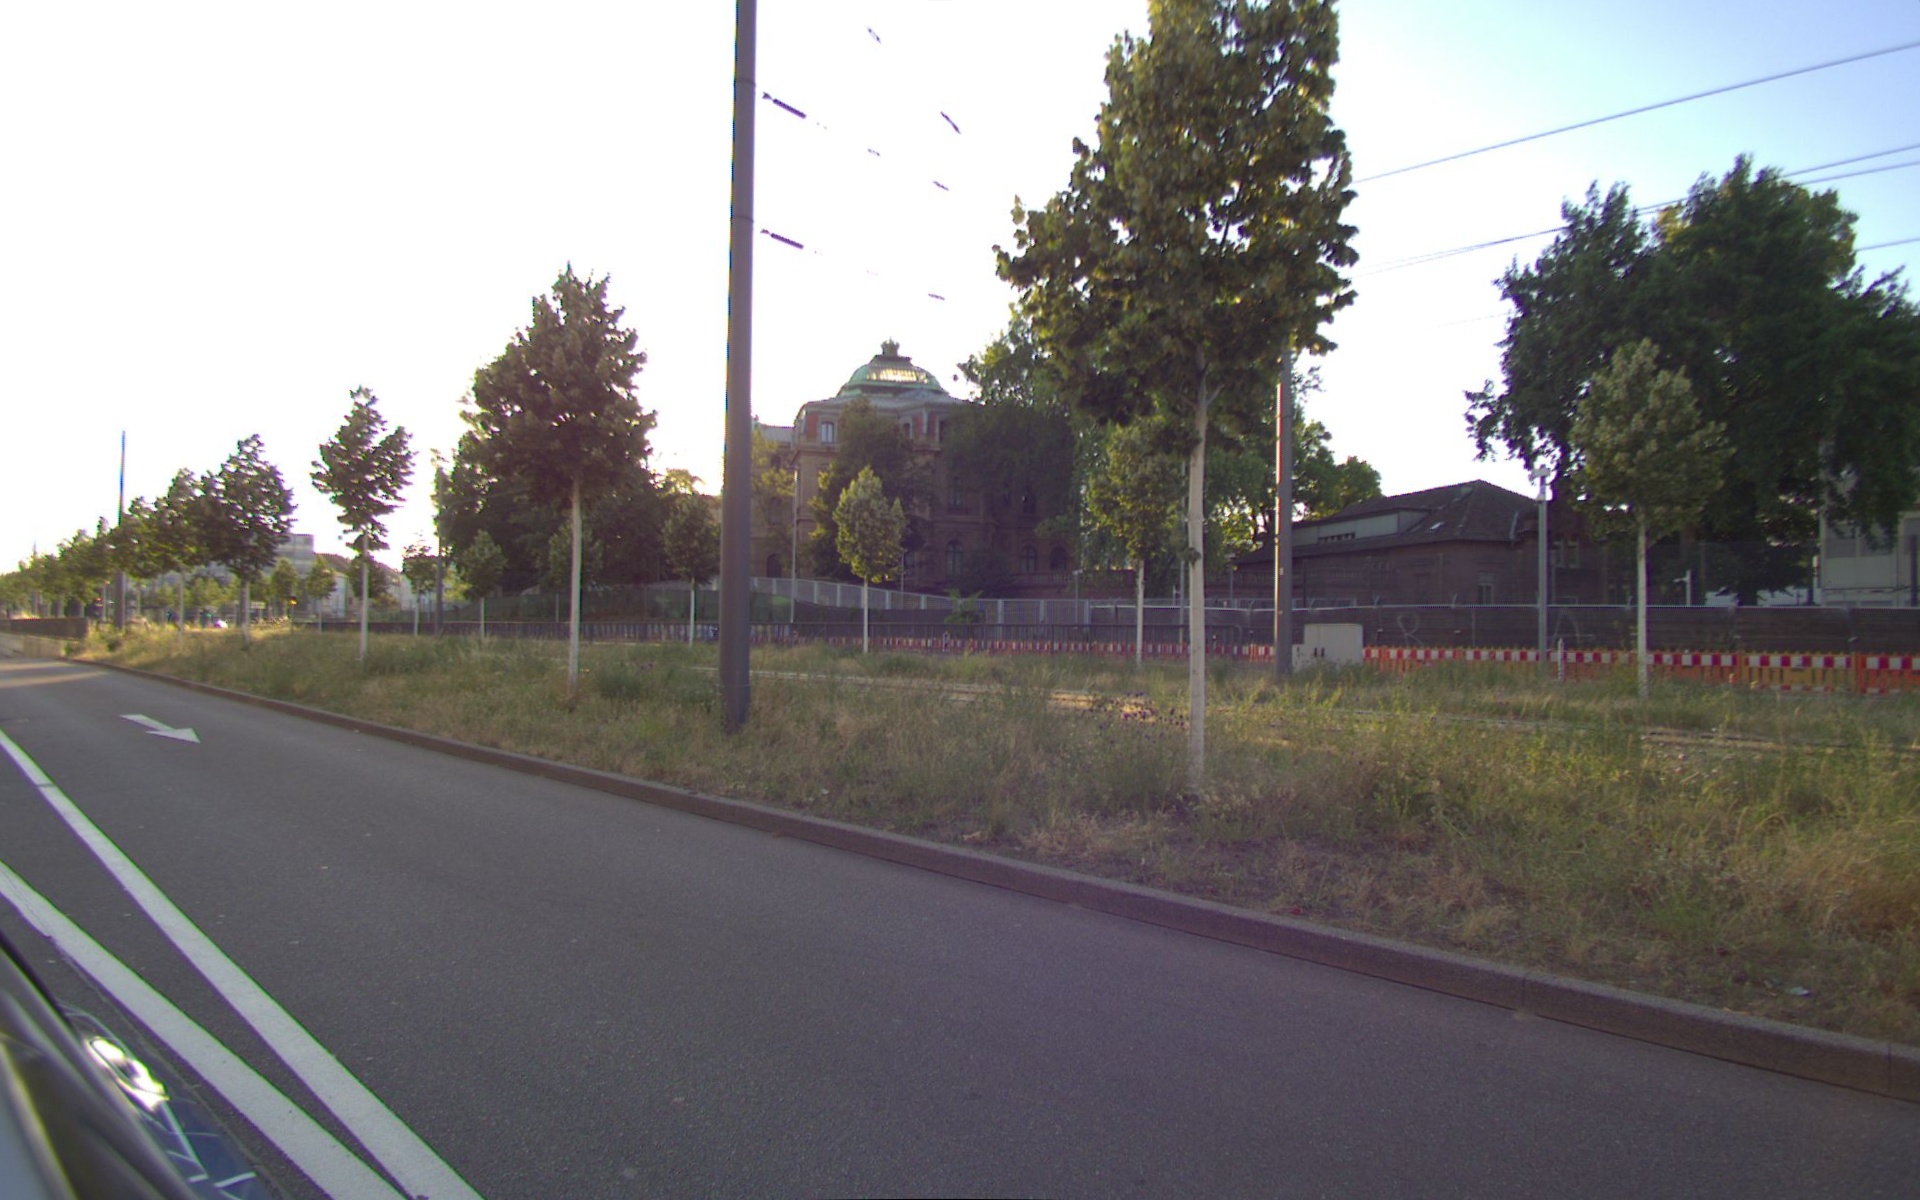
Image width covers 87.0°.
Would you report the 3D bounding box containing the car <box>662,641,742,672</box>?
[{"bbox_3d":[-13.532,2.947,52.956,4.522,1.492,1.911,-3,-2,43],"label":"car"}]
